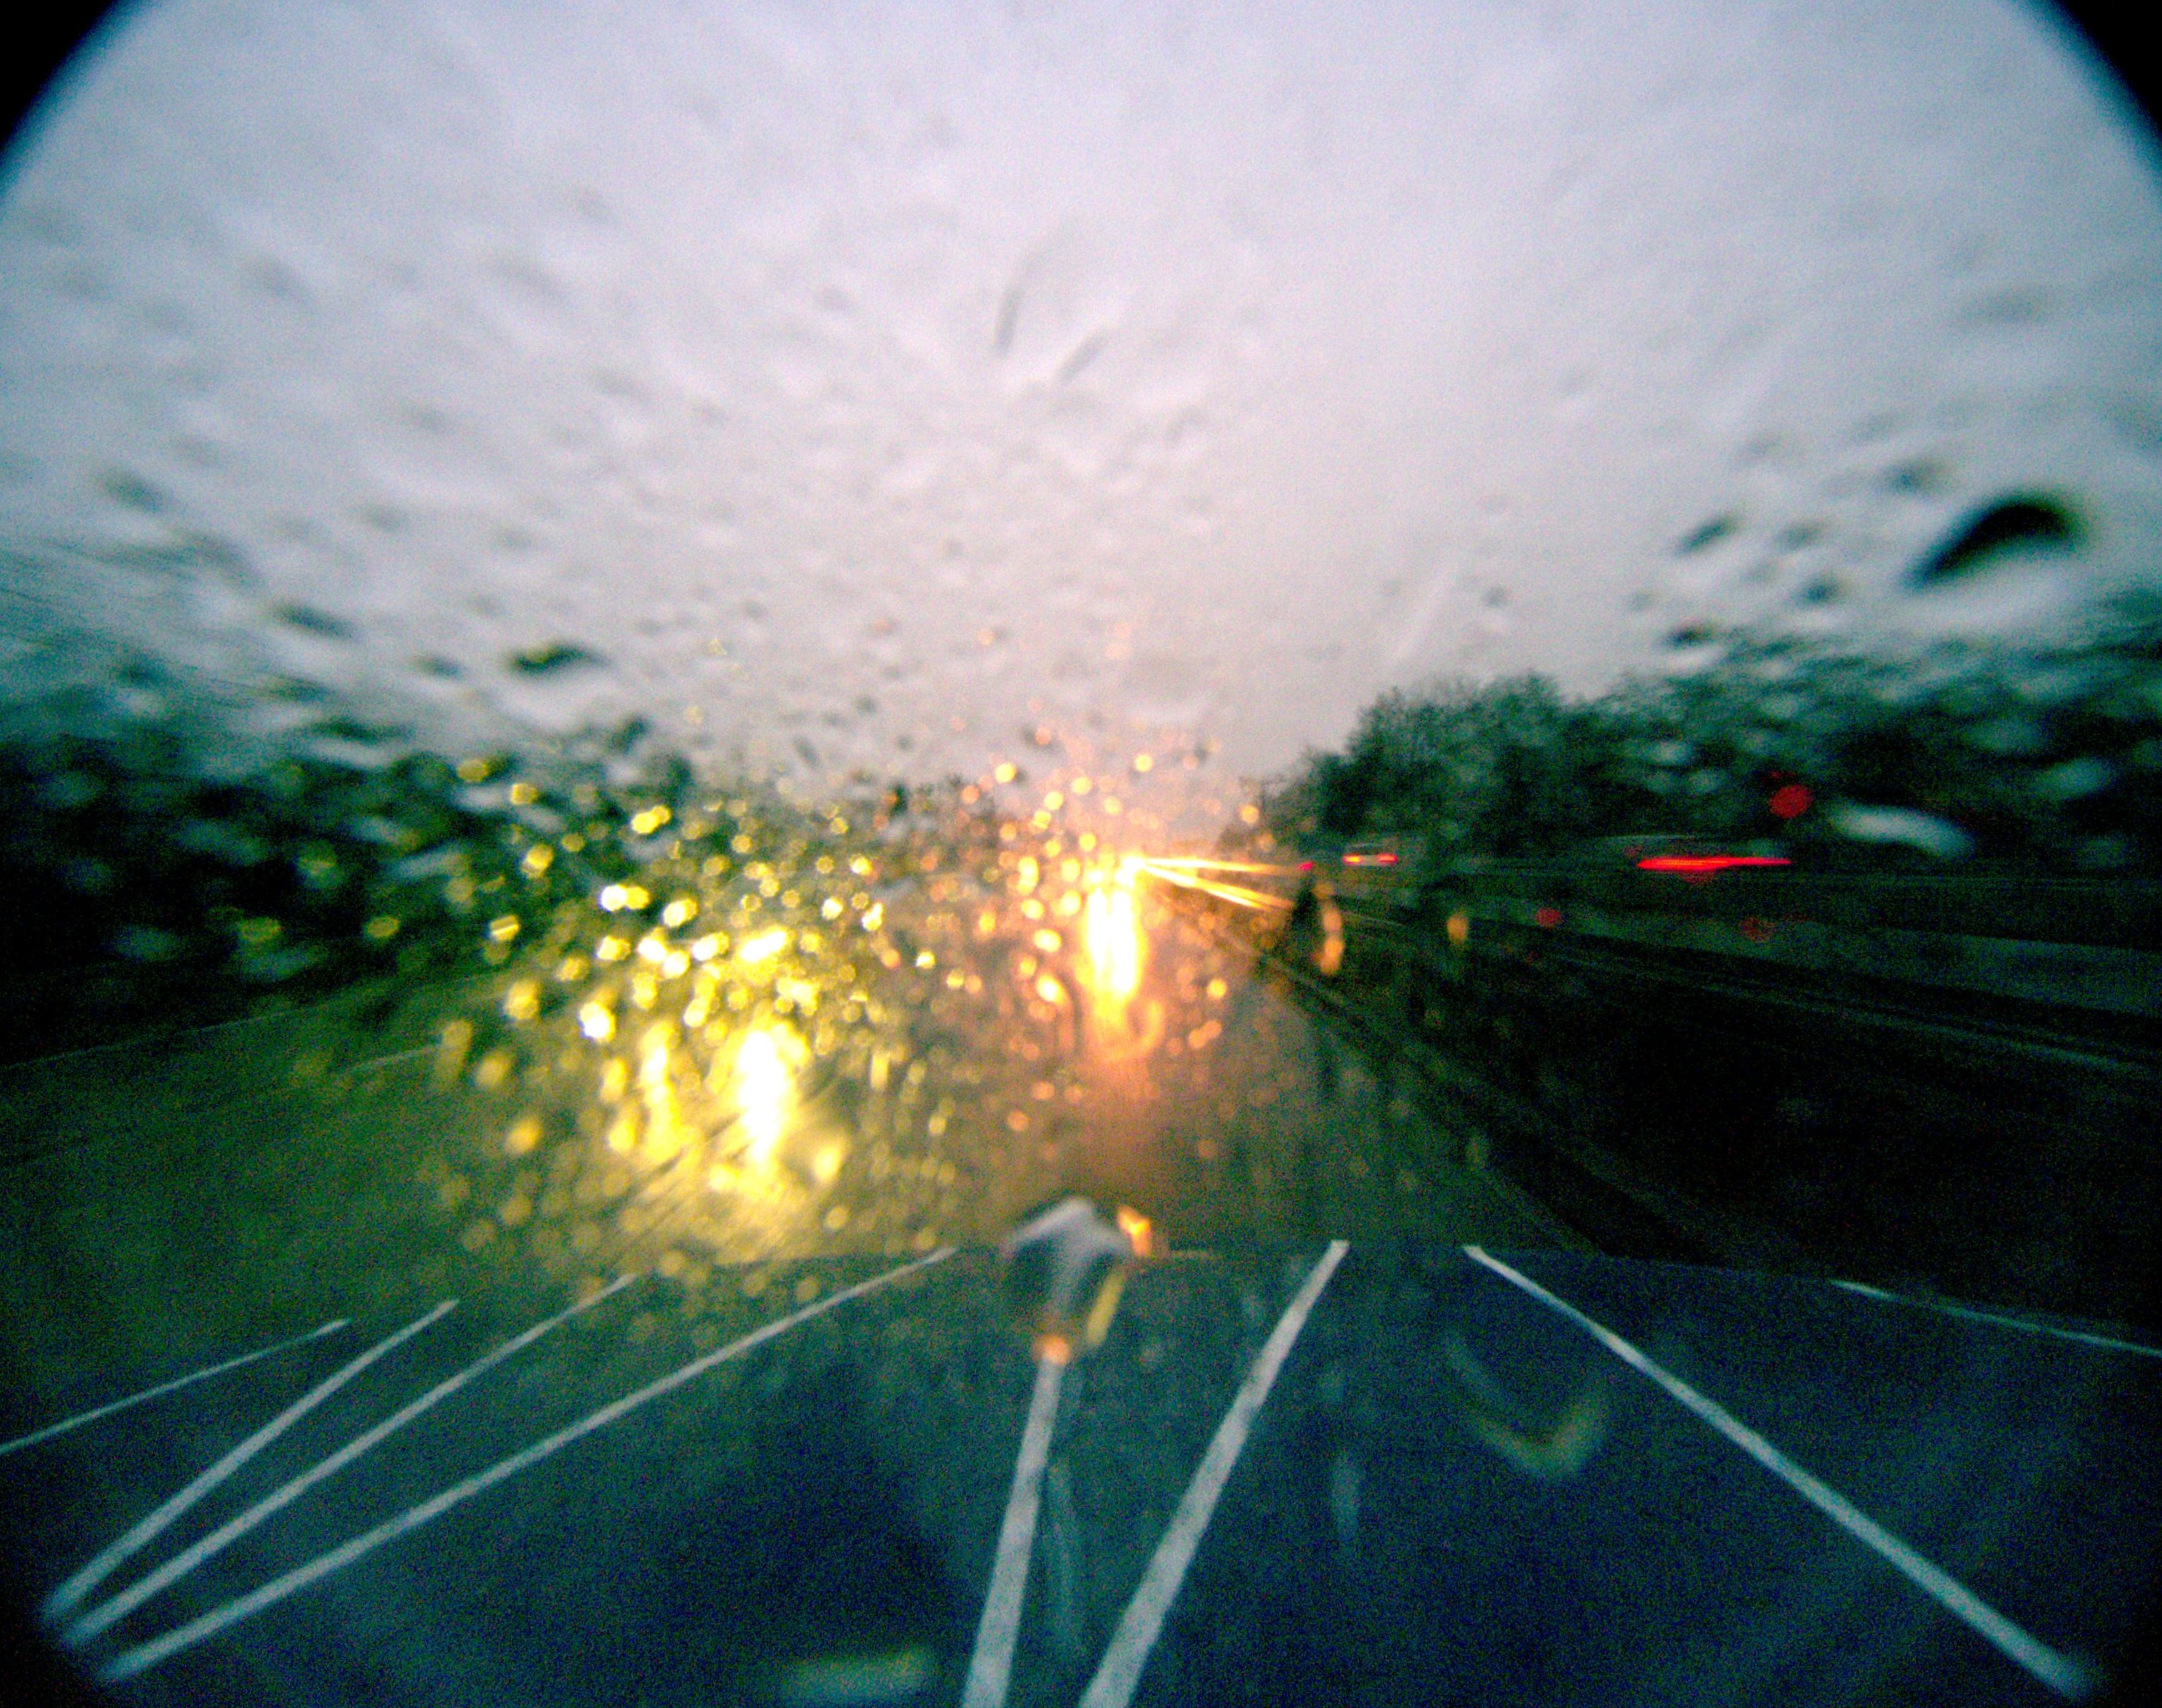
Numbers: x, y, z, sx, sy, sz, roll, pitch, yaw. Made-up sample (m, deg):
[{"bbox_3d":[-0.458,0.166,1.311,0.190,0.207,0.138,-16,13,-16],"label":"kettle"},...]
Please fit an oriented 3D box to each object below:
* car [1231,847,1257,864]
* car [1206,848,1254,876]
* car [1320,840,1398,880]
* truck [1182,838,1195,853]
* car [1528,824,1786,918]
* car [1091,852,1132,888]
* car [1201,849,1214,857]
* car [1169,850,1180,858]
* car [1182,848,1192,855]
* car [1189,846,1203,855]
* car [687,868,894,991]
[{"bbox_3d":[15.980,0.147,74.632,1.731,1.598,4.179,-2,0,2],"label":"car"},{"bbox_3d":[8.427,0.439,43.231,1.871,1.441,4.645,-2,0,1],"label":"car"},{"bbox_3d":[12.377,0.234,34.134,1.871,1.618,4.645,-2,0,1],"label":"car"},{"bbox_3d":[28.252,-2.174,199.977,3.084,3.834,9.372,-2,0,5],"label":"truck"},{"bbox_3d":[11.753,0.293,16.035,1.871,1.618,4.779,-2,0,1],"label":"car"},{"bbox_3d":[1.512,0.708,36.109,1.758,1.521,4.001,-2,0,4],"label":"car"},{"bbox_3d":[24.866,-0.167,149.719,1.998,1.505,4.798,-2,0,4],"label":"car"},{"bbox_3d":[17.843,-0.071,145.358,1.869,1.473,4.672,-2,0,4],"label":"car"},{"bbox_3d":[23.847,-0.560,171.422,1.998,1.639,4.001,-2,0,4],"label":"car"},{"bbox_3d":[19.712,-0.559,129.961,1.998,1.505,4.284,-2,0,4],"label":"car"},{"bbox_3d":[-4.169,0.994,11.663,1.595,1.445,4.176,-2,0,-1],"label":"car"}]
